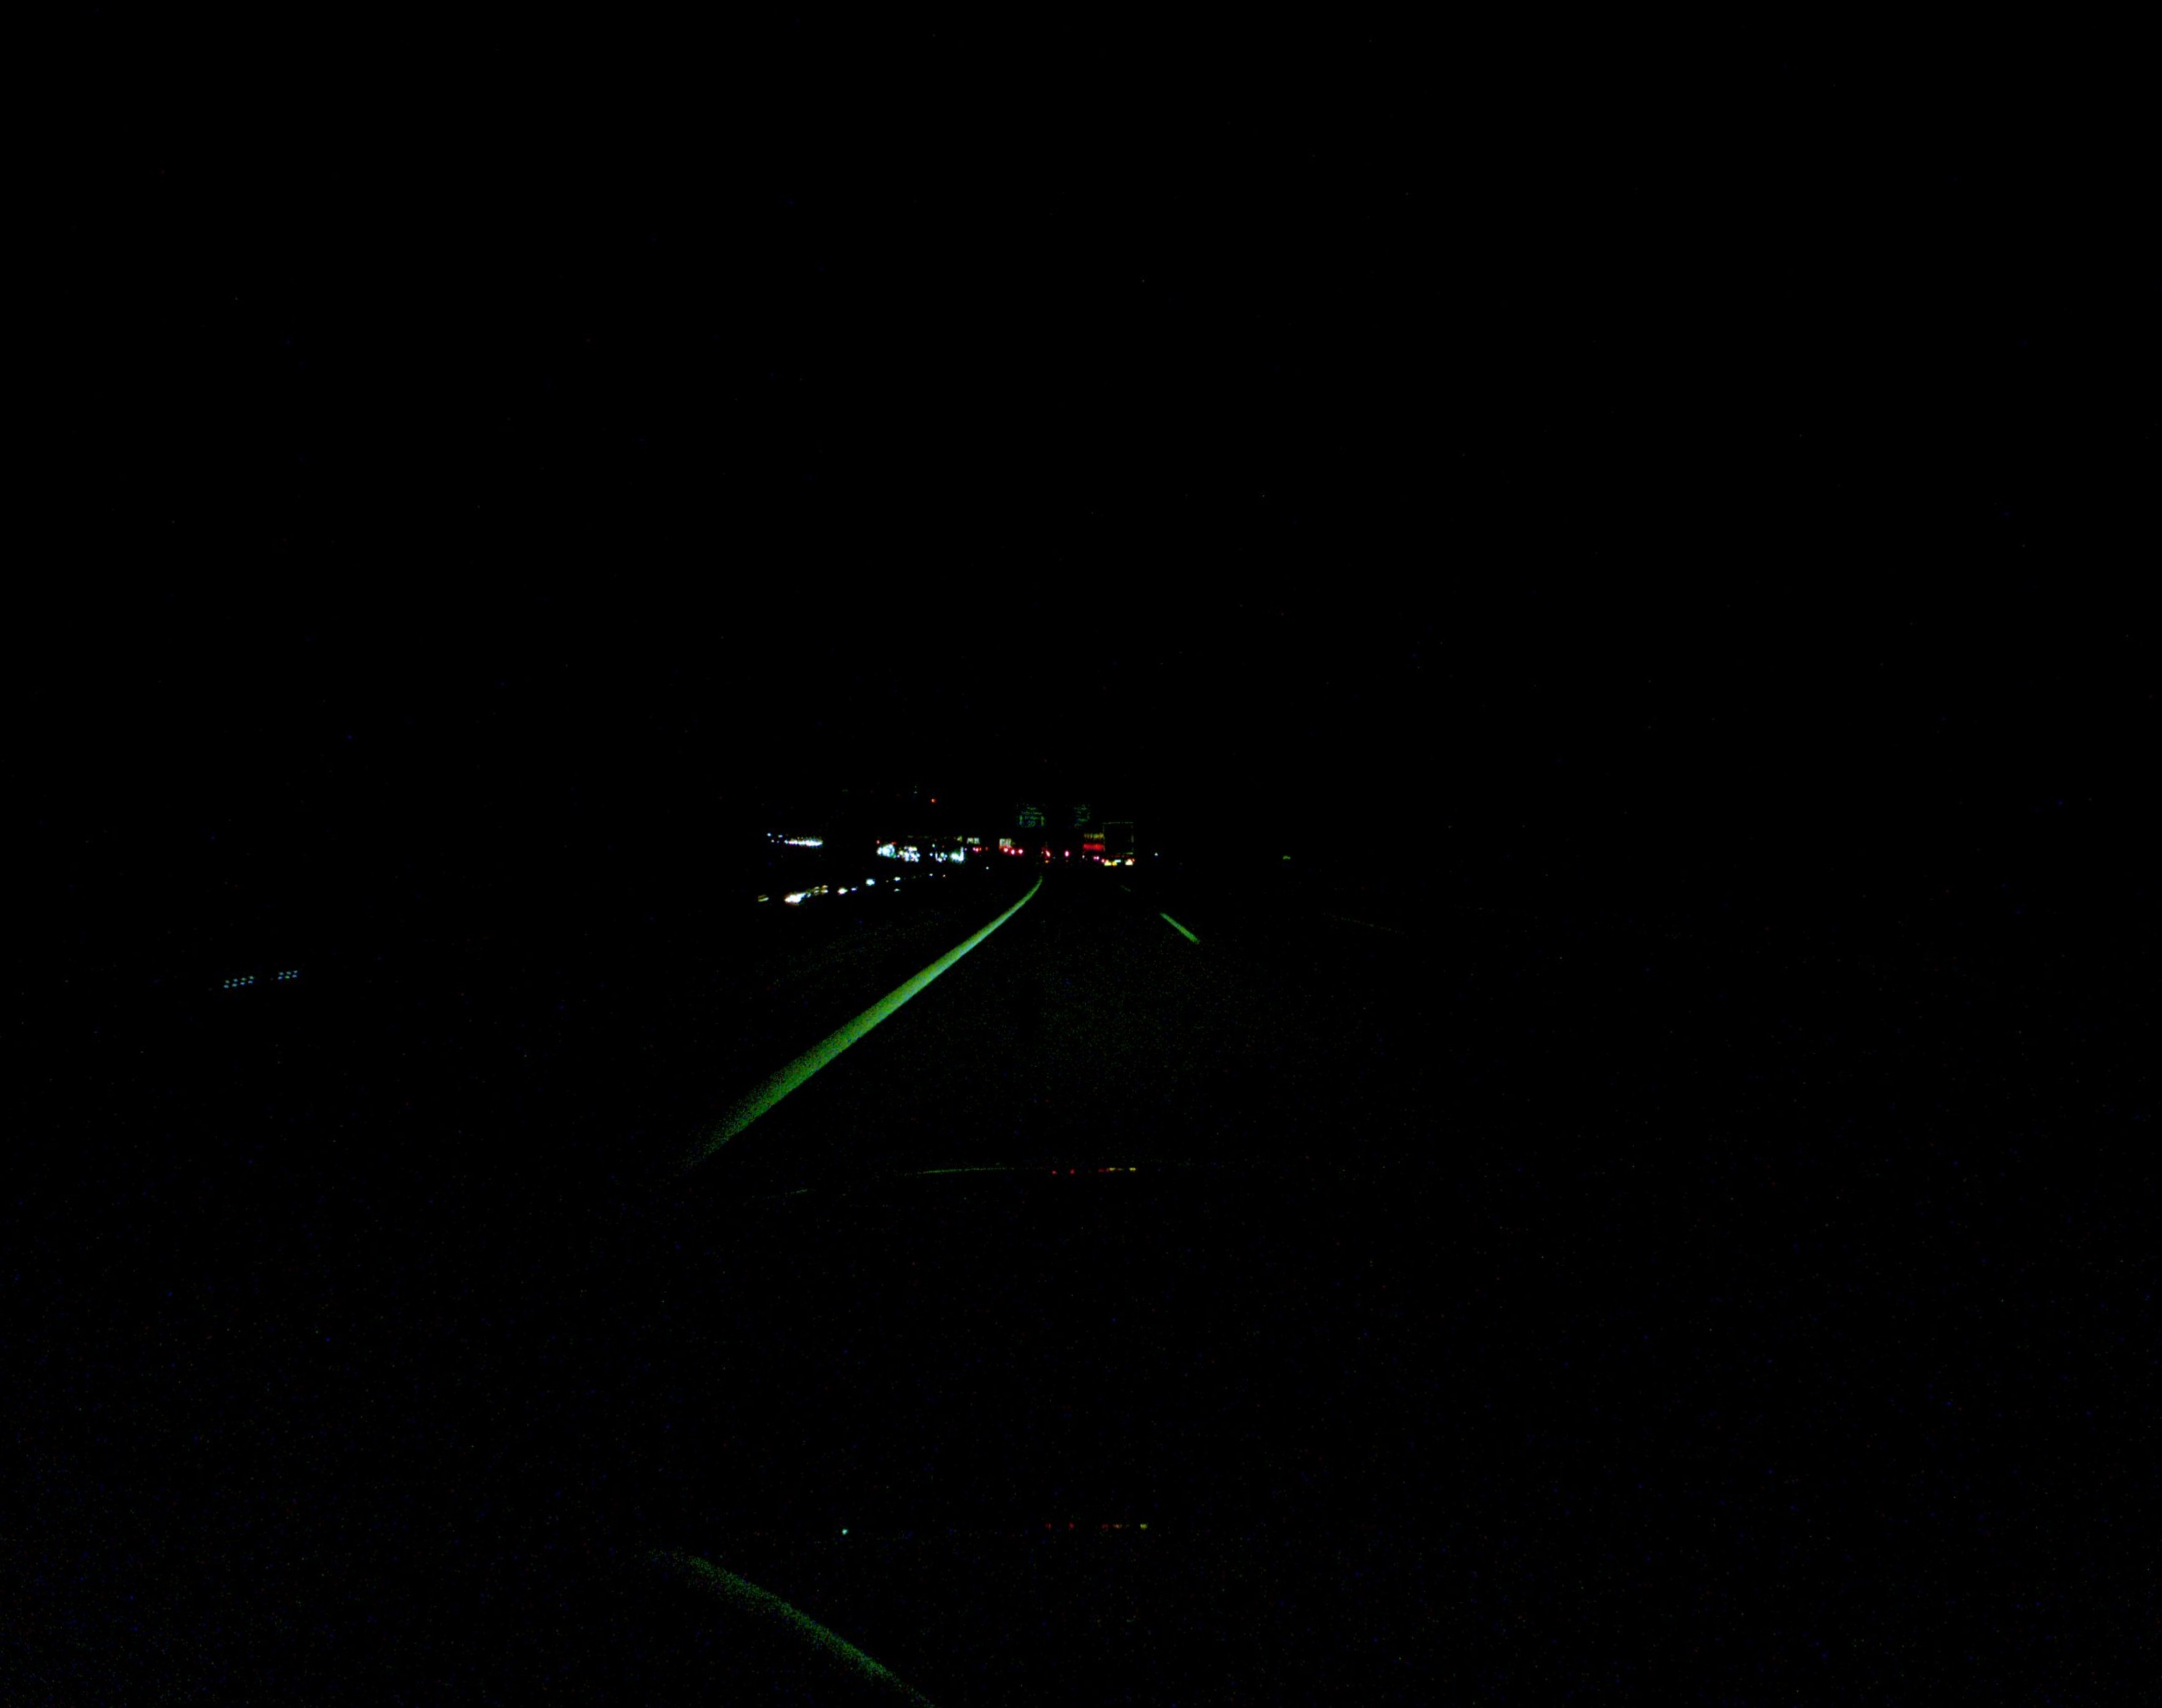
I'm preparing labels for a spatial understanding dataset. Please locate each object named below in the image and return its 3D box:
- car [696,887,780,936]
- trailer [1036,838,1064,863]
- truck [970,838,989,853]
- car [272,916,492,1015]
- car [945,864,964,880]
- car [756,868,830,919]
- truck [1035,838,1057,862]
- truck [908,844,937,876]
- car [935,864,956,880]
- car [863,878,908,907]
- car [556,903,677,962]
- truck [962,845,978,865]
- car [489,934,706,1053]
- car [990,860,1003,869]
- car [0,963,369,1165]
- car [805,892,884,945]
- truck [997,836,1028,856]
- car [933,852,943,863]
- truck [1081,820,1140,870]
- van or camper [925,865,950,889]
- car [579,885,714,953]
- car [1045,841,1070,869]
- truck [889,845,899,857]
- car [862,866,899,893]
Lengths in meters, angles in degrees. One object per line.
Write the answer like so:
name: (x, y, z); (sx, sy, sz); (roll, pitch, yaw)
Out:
car: (-14.603, 2.400, 34.944); (1.946, 1.716, 3.997); (-2, 0, -2)
trailer: (-5.726, -0.669, 148.475); (2.856, 4.066, 13.156); (-2, 2, -11)
truck: (-31.331, -2.623, 251.186); (3.352, 4.475, 13.831); (1, 1, -17)
car: (-16.106, 2.495, 19.091); (1.748, 1.716, 3.997); (-1, 0, -2)
car: (-12.611, 1.785, 81.302); (1.599, 1.442, 3.990); (-3, 1, -7)
car: (-15.629, 2.057, 44.510); (2.021, 2.441, 5.693); (-1, 0, -1)
truck: (-6.702, -0.825, 153.334); (2.864, 4.076, 7.482); (-2, 2, -11)
truck: (-22.180, 0.798, 114.111); (3.416, 4.222, 6.266); (-3, 1, -8)
car: (-13.551, 1.750, 81.411); (1.609, 1.479, 4.053); (-3, 0, -15)
car: (-13.459, 2.630, 56.387); (2.135, 1.623, 5.104); (-3, 1, -4)
car: (-15.319, 2.554, 27.134); (1.819, 1.458, 3.996); (-3, 0, -3)
truck: (-20.389, 0.201, 150.087); (2.651, 3.591, 8.531); (-1, 0, -6)
car: (-9.107, 2.558, 15.829); (1.813, 1.469, 4.274); (-2, 0, -4)
car: (-13.514, 1.655, 129.911); (1.601, 1.442, 3.986); (-3, 1, -10)
car: (-12.001, 2.451, 10.310); (1.898, 1.453, 4.708); (-1, 0, -2)
car: (-8.476, 2.259, 29.559); (1.813, 1.469, 4.274); (-2, 1, -4)
truck: (-17.964, -2.199, 211.714); (3.924, 4.626, 20.904); (-3, 2, -16)
car: (-32.404, 0.722, 184.272); (1.836, 2.370, 5.421); (-3, 1, -14)
truck: (2.480, -0.770, 77.594); (3.476, 4.134, 18.680); (-1, 0, -4)
van or camper: (-13.839, 2.191, 78.905); (1.991, 2.013, 5.209); (-3, 1, -7)
car: (-12.034, 1.738, 22.881); (1.820, 1.458, 3.993); (-3, 0, -5)
car: (-2.359, 0.111, 80.108); (2.332, 2.640, 5.241); (1, 0, -3)
truck: (-54.037, -0.912, 235.810); (2.380, 3.259, 7.684); (-4, 1, -15)
car: (-17.673, 2.202, 71.946); (2.134, 2.054, 5.107); (-3, 1, -3)
